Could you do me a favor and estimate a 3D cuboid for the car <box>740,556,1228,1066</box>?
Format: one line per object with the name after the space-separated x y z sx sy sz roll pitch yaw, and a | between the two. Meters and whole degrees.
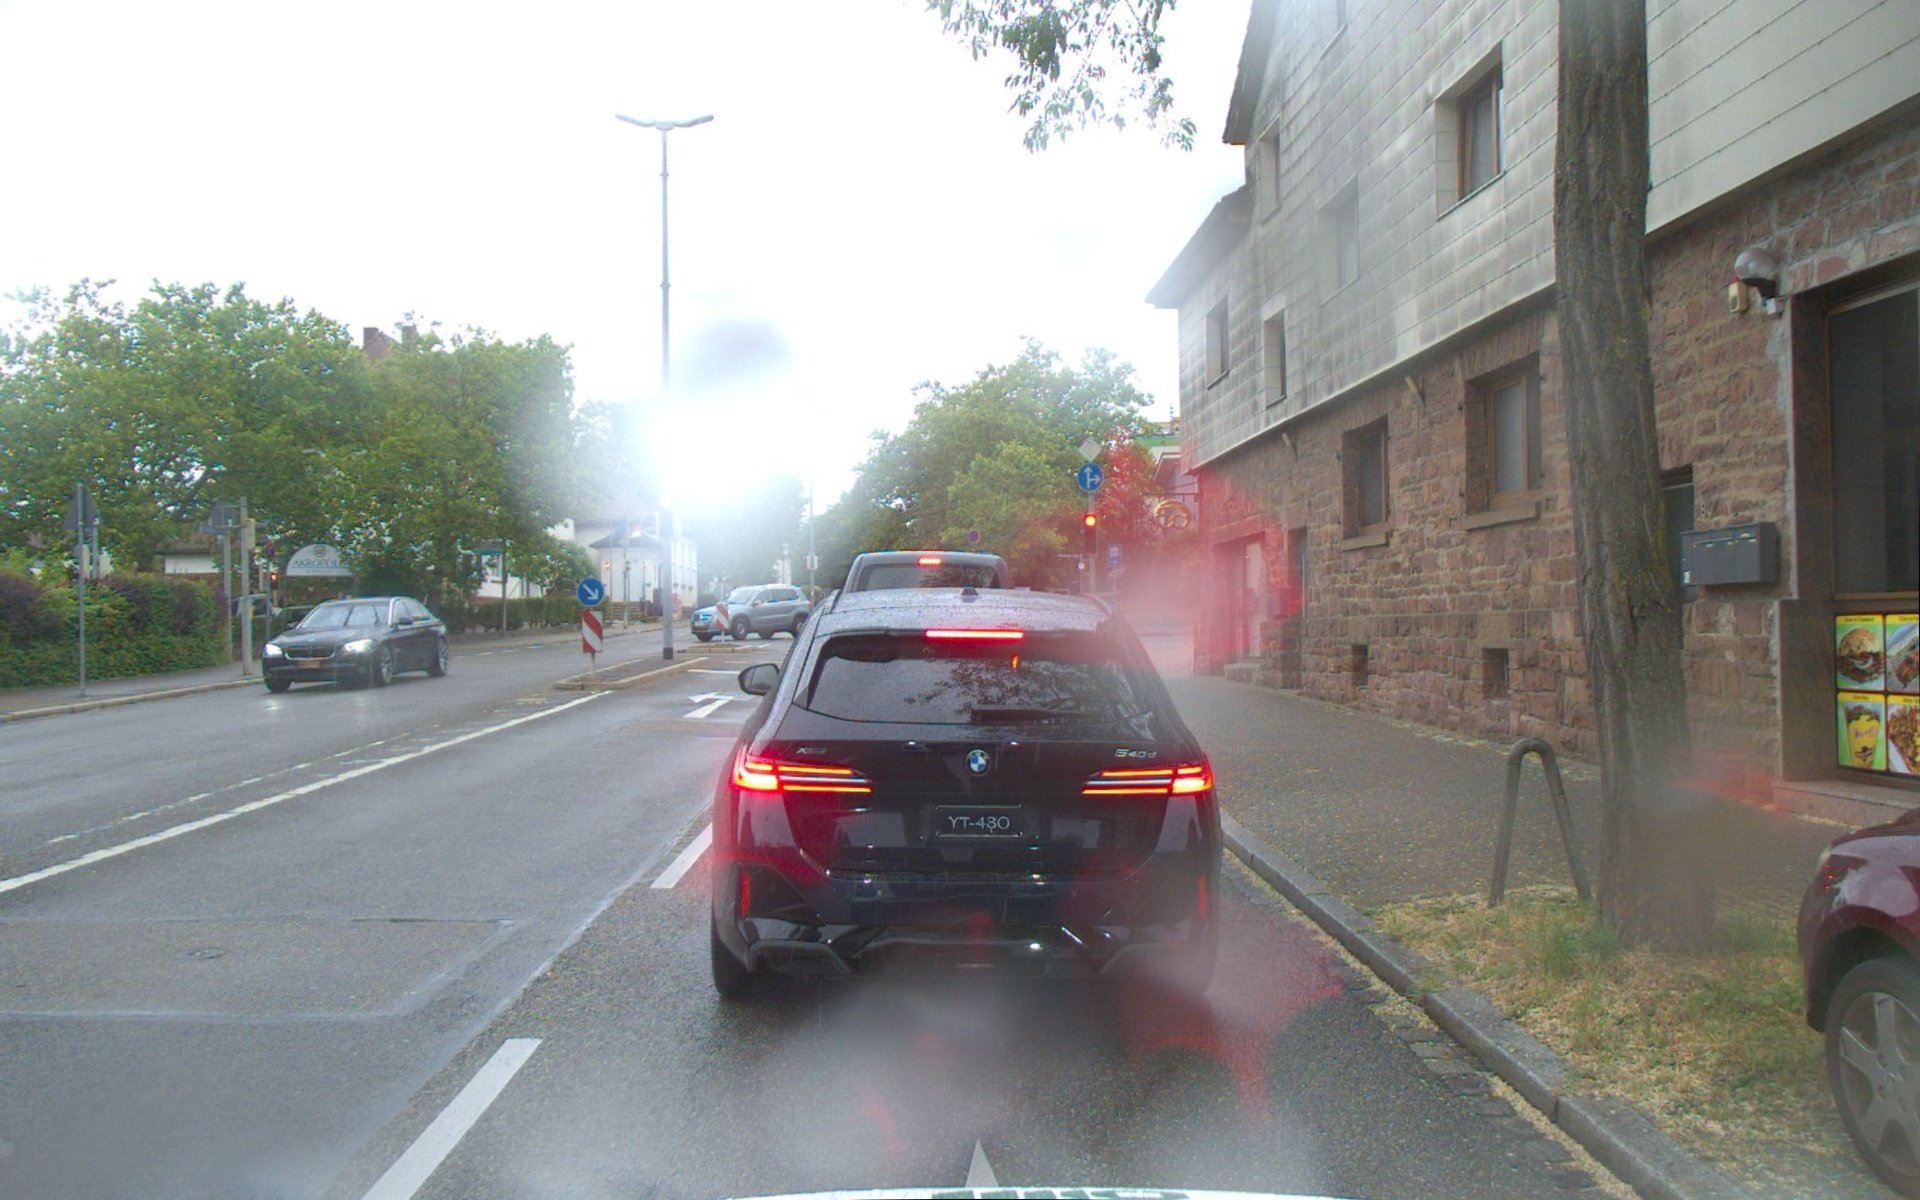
-0.029 0.664 6.886 1.494 1.561 3.529 1 0 -4 | car

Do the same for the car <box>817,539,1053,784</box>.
-0.303 0.480 14.484 1.776 1.840 3.753 1 0 -4 | car

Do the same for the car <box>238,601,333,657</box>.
-23.129 0.979 56.842 1.772 1.578 4.000 1 4 -3 | car

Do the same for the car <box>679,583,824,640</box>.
-6.424 0.347 51.330 1.879 1.618 4.294 -1 0 40 | car

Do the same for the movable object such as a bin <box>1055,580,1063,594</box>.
6.895 -0.907 115.393 0.440 0.921 0.463 1 -1 14 | movable object such as a bin

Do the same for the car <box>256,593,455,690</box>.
-10.244 0.661 28.461 1.873 1.479 4.944 -1 0 -4 | car

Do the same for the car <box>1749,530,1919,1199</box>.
3.063 0.582 2.700 1.578 1.530 3.753 1 -2 -4 | car
